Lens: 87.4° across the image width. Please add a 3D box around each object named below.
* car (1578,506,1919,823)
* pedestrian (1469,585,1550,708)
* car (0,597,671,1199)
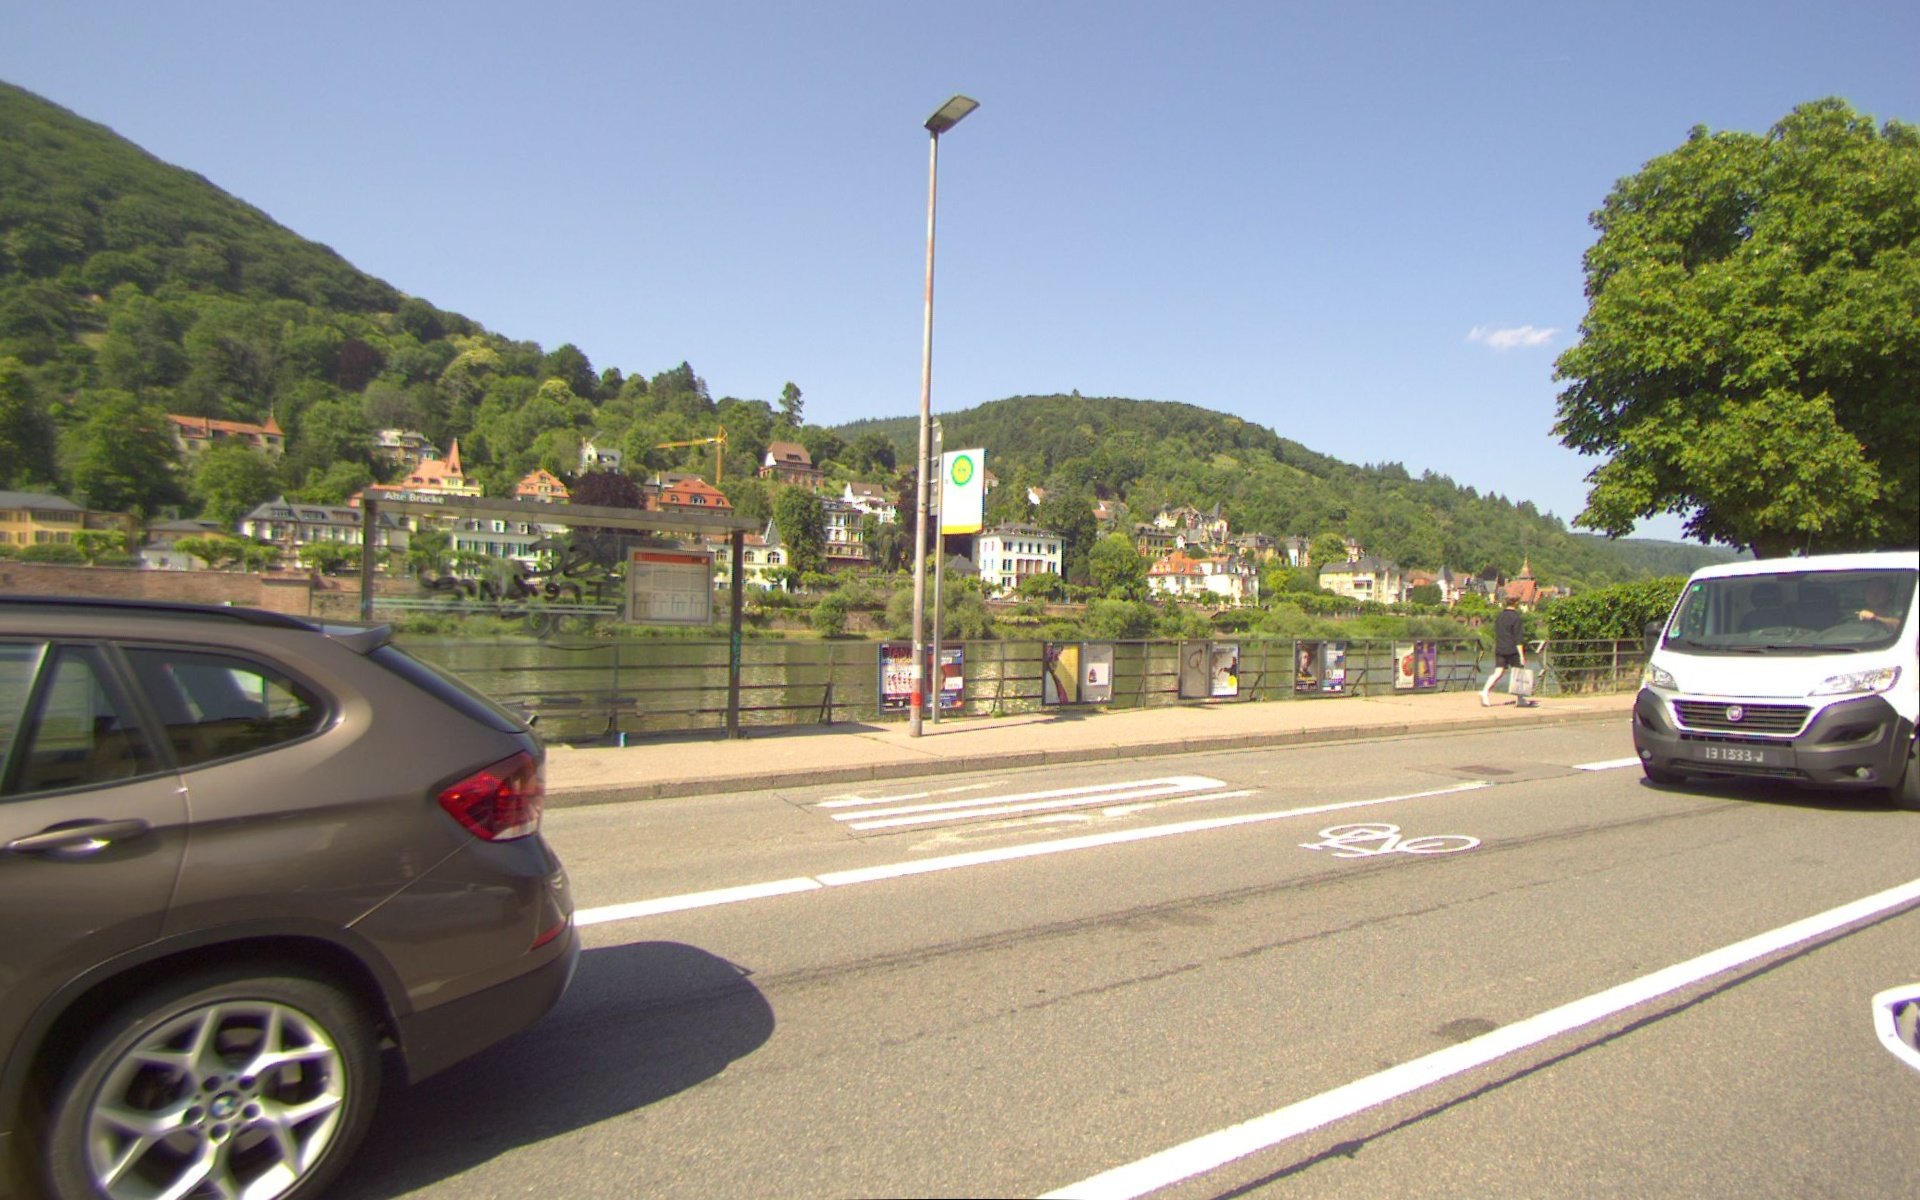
[{"bbox_3d":[8.674,0.518,9.809,5.801,2.332,2.086,0,-1,-31],"label":"car"},{"bbox_3d":[9.019,0.764,16.490,0.998,1.942,0.749,3,-2,-31],"label":"pedestrian"},{"bbox_3d":[-3.086,0.724,2.417,4.297,1.416,1.806,0,-2,-31],"label":"car"}]
